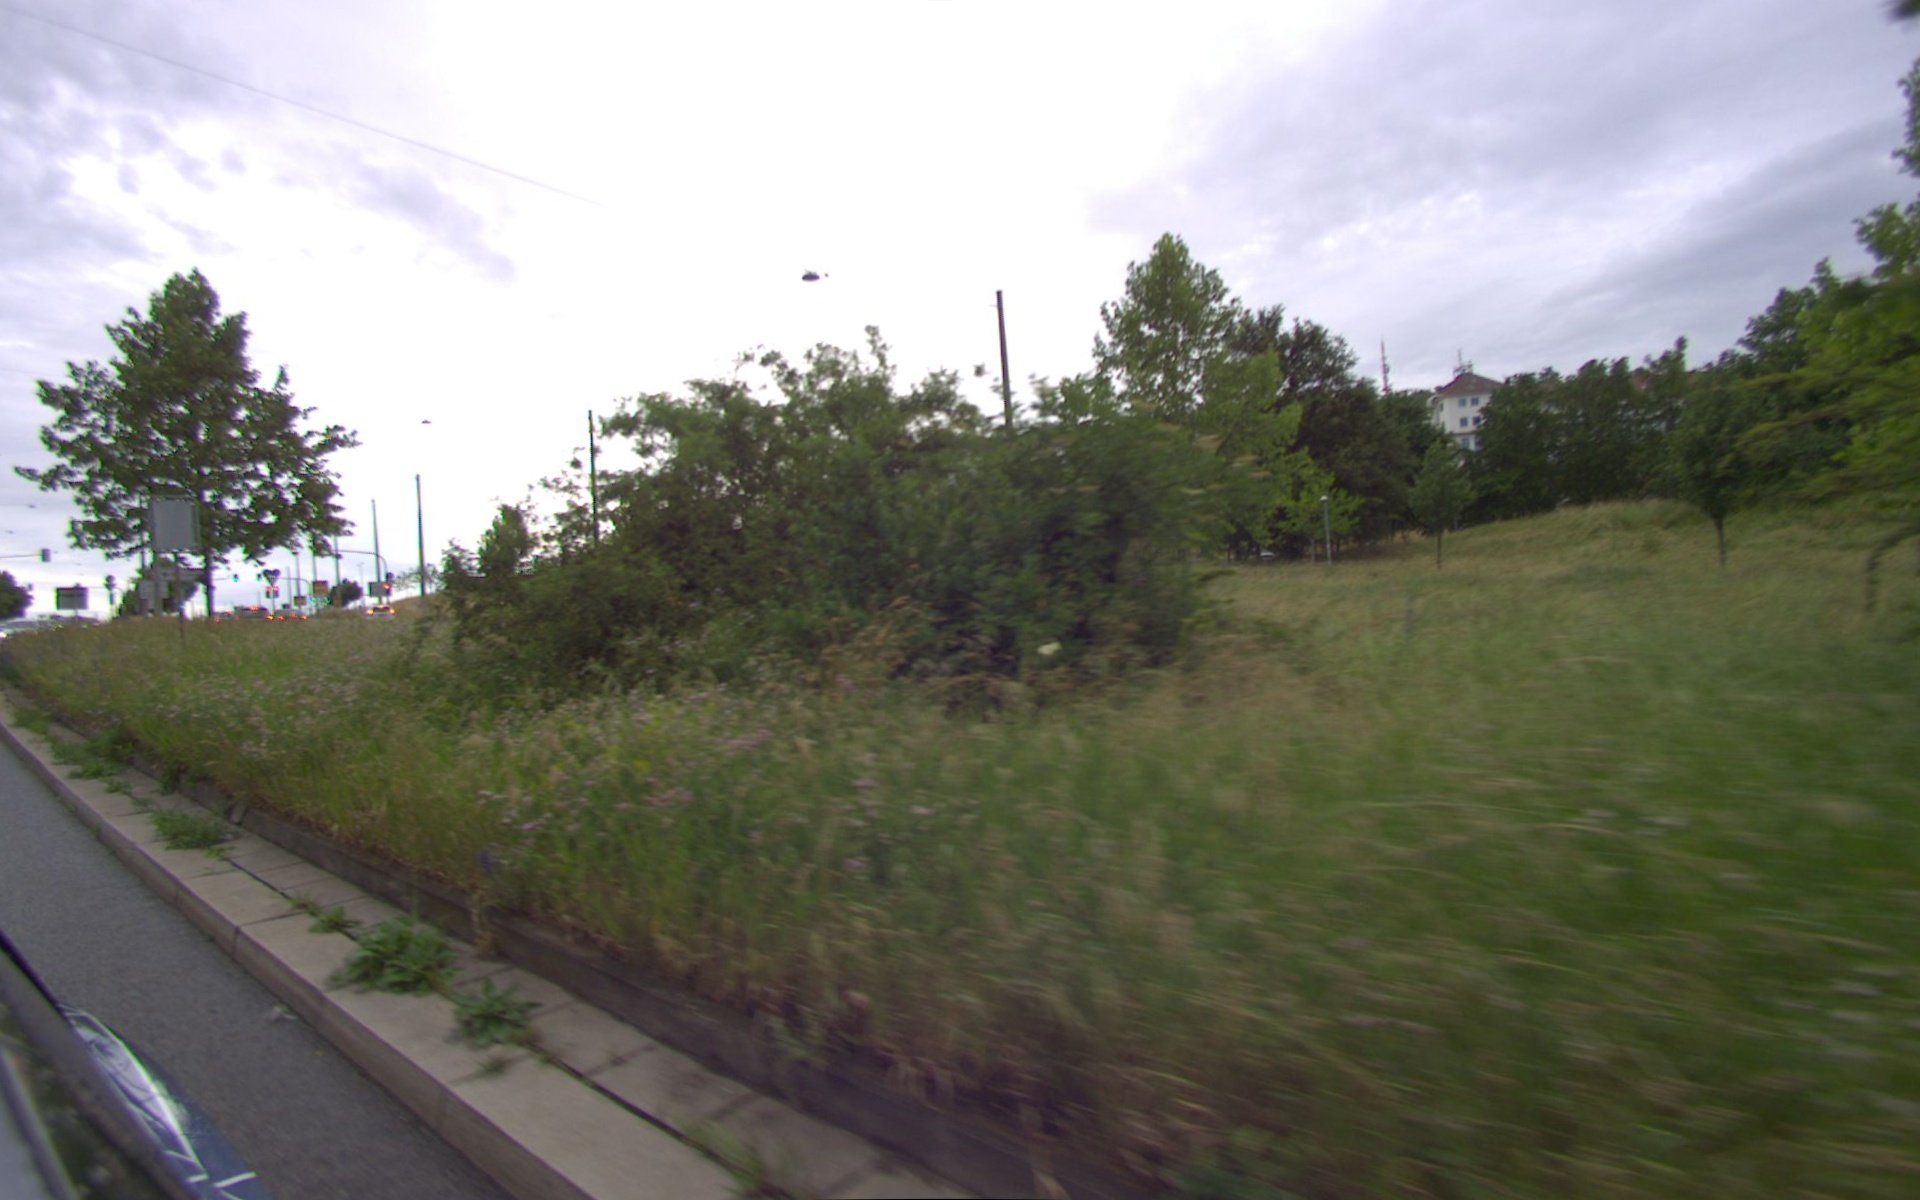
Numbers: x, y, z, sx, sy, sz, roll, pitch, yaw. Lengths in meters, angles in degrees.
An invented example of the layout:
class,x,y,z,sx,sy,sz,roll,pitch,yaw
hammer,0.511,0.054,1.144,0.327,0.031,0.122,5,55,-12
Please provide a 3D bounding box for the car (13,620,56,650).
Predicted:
class,x,y,z,sx,sy,sz,roll,pitch,yaw
car,-58.698,2.199,64.173,1.970,1.785,4.003,0,-1,-43

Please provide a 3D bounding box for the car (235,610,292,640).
class,x,y,z,sx,sy,sz,roll,pitch,yaw
car,-38.706,1.376,56.185,1.970,1.523,4.443,-3,1,-42

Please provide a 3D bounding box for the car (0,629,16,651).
class,x,y,z,sx,sy,sz,roll,pitch,yaw
car,-72.016,2.994,75.601,1.755,1.613,4.129,-2,0,-37

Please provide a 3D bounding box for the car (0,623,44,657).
class,x,y,z,sx,sy,sz,roll,pitch,yaw
car,-51.258,2.184,55.031,1.969,1.785,4.006,2,-4,-41

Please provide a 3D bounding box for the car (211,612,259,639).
class,x,y,z,sx,sy,sz,roll,pitch,yaw
car,-43.849,1.534,61.157,1.937,1.433,4.445,-3,1,-40

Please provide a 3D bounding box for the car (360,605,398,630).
class,x,y,z,sx,sy,sz,roll,pitch,yaw
car,-42.188,1.274,73.446,1.967,1.656,4.811,-3,1,-34
